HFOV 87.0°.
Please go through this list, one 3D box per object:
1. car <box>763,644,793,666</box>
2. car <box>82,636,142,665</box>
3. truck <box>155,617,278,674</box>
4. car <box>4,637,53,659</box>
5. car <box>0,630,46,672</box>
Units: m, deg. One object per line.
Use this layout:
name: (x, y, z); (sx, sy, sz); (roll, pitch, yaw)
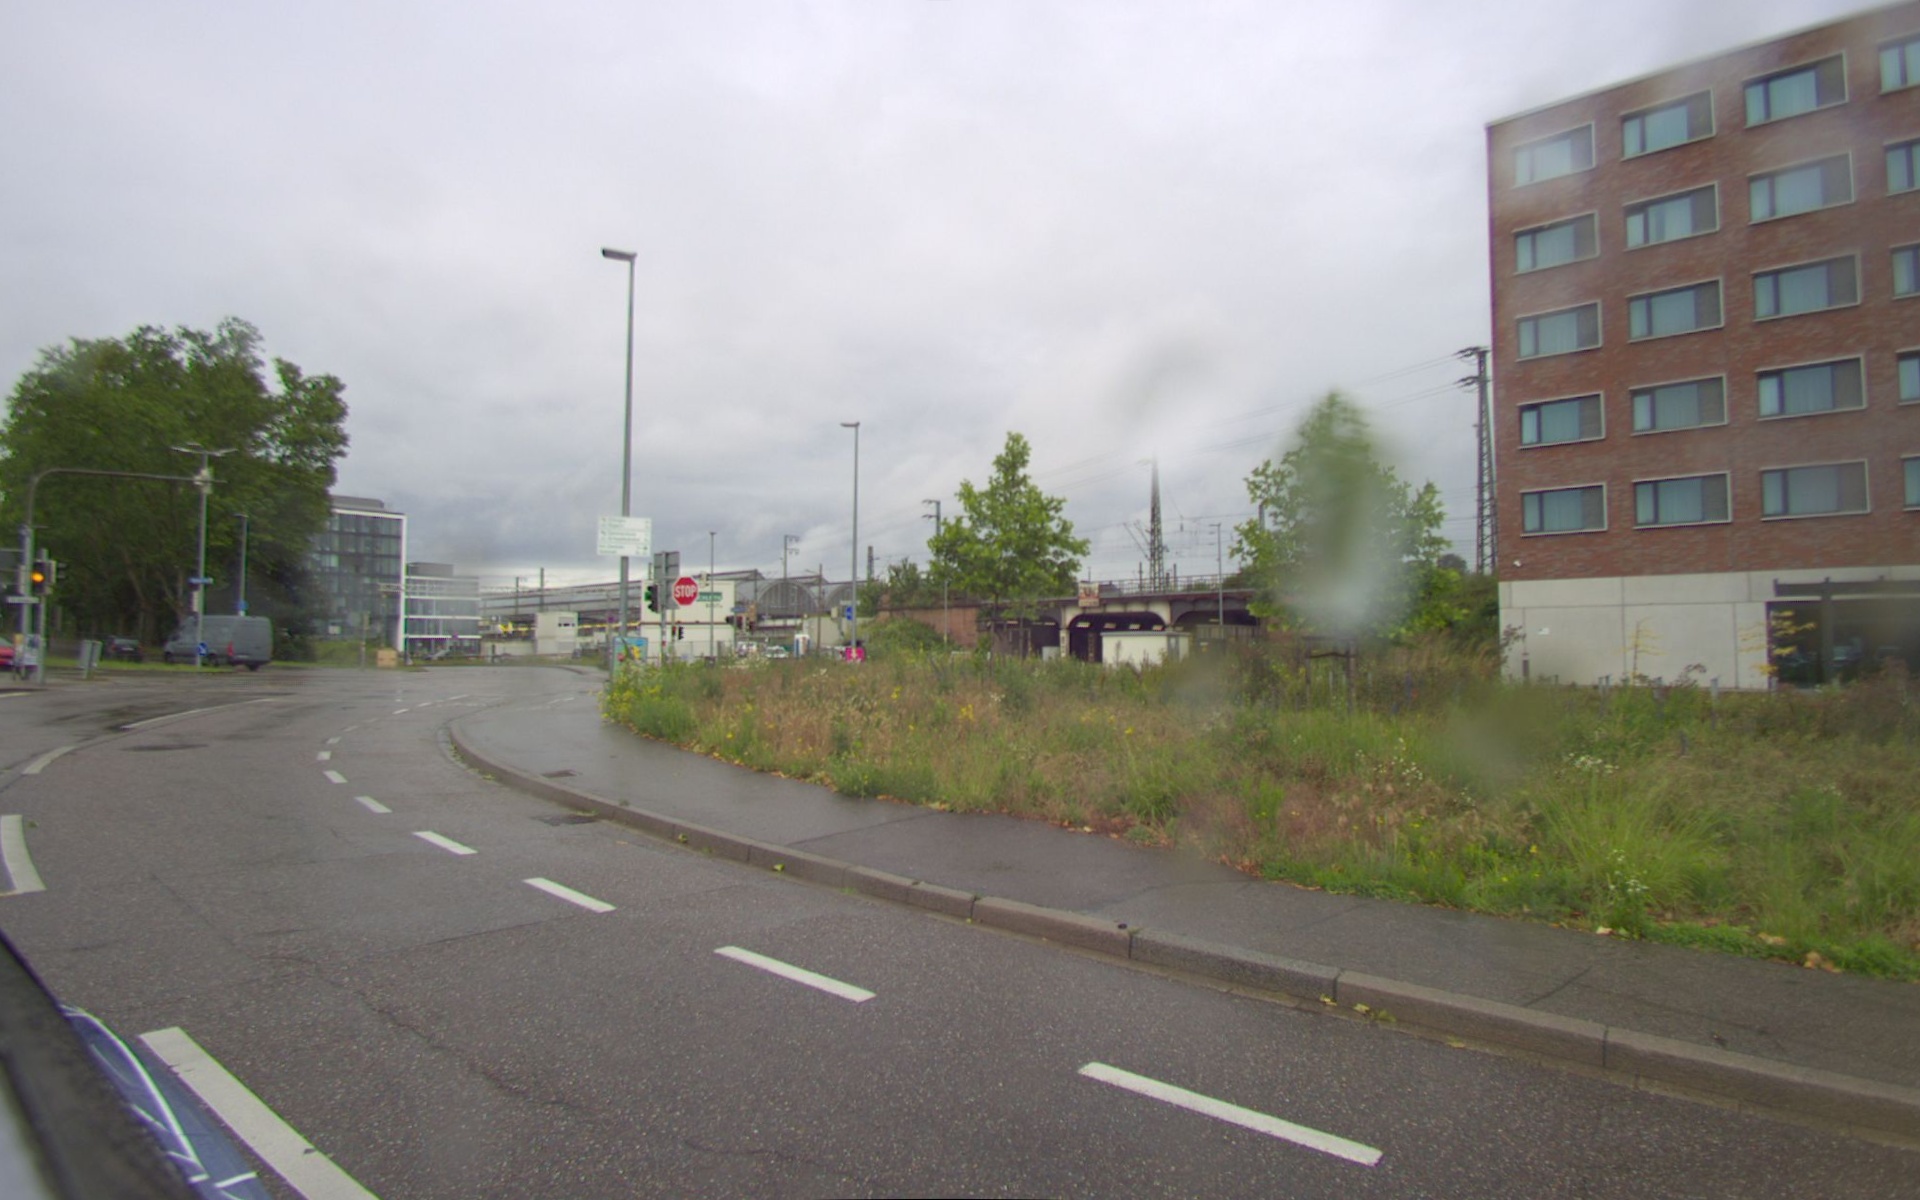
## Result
car: (-17.886, 5.353, 99.263); (1.965, 2.029, 4.013); (1, -2, -25)
car: (-46.969, 2.809, 56.051); (3.522, 1.463, 1.630); (-4, -6, 35)
truck: (-36.517, 2.219, 49.651); (6.947, 2.639, 2.070); (-1, -4, 29)
car: (-72.900, 3.768, 79.168); (3.990, 1.654, 1.976); (-1, -4, 35)
car: (-33.311, 1.710, 34.262); (3.966, 1.392, 1.735); (0, -3, 18)
